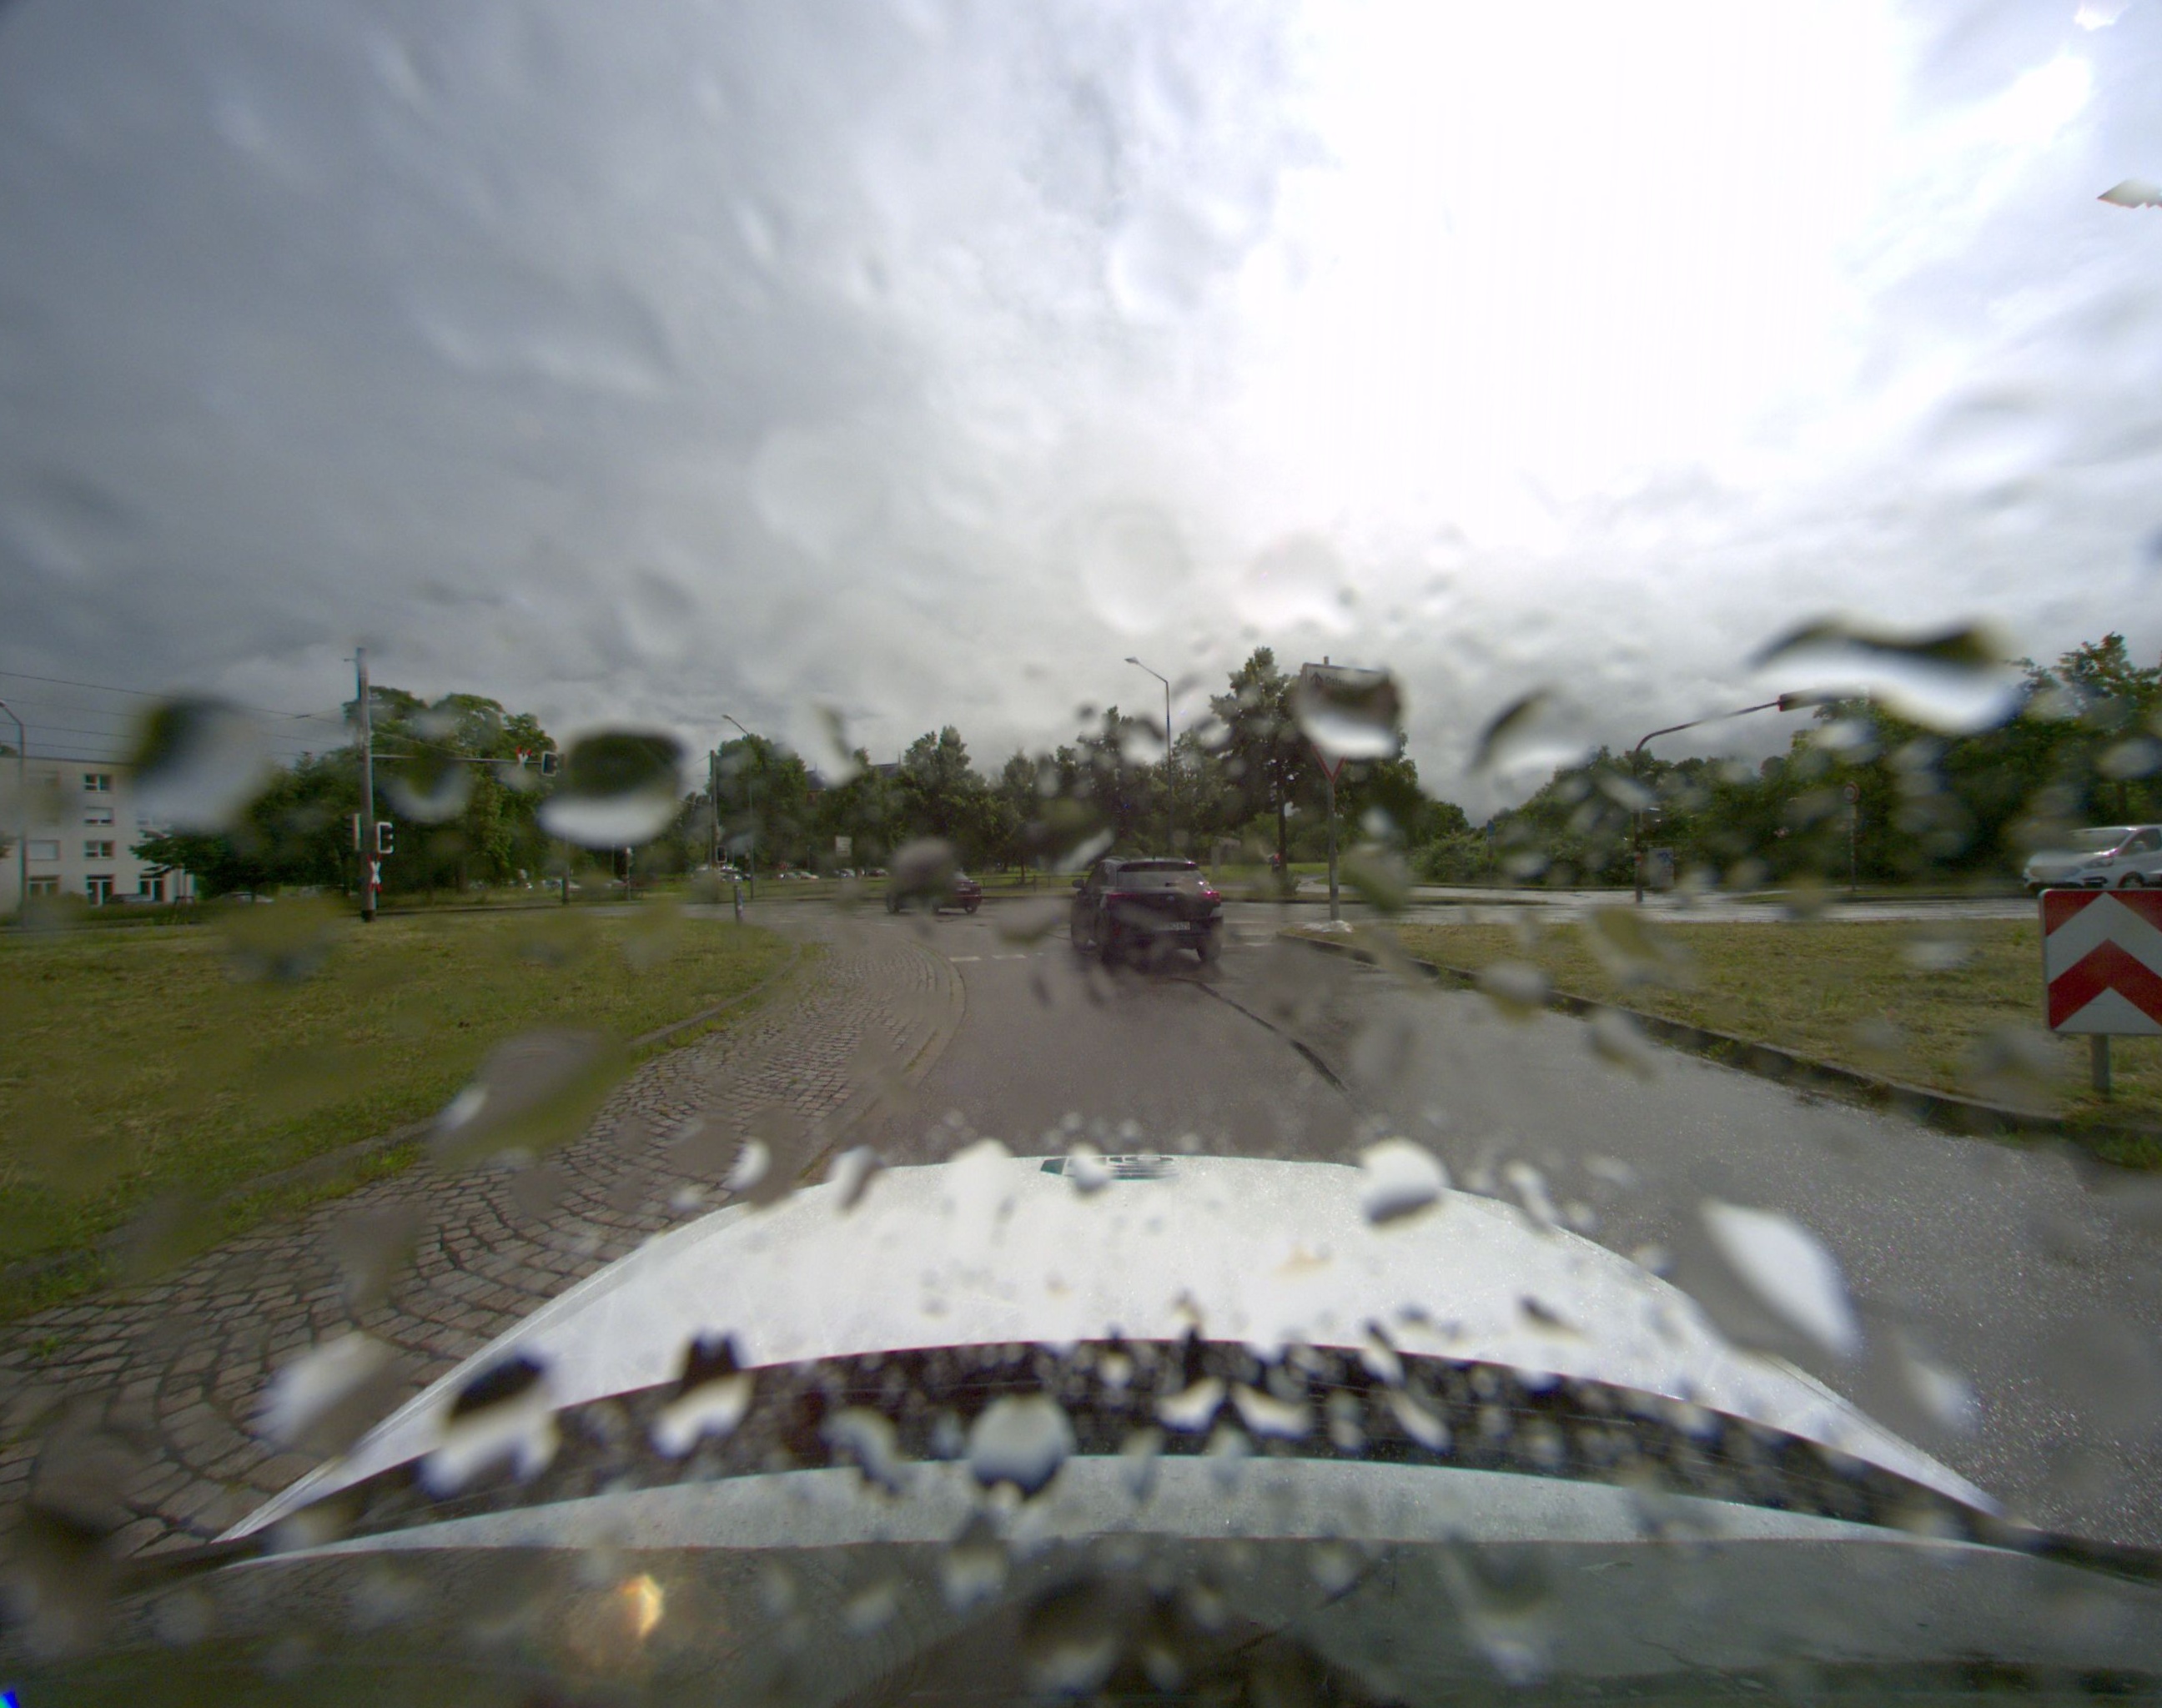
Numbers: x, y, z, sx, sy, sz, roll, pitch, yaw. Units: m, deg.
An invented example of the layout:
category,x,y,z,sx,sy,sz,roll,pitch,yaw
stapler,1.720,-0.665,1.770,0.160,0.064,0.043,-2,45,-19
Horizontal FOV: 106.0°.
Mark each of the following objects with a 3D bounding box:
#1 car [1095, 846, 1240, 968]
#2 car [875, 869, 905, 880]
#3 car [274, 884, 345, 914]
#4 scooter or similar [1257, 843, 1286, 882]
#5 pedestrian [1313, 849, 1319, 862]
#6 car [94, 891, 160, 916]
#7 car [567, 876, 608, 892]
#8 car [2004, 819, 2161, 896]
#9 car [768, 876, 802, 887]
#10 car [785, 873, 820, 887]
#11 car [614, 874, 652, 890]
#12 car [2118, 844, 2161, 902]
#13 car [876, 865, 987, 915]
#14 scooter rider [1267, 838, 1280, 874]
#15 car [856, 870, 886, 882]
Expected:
category,x,y,z,sx,sy,sz,roll,pitch,yaw
car,1.213,0.729,13.078,1.891,1.618,3.999,-1,0,0
car,-29.214,3.176,124.545,3.931,1.559,1.860,-3,-1,22
car,-57.092,3.292,60.244,5.097,2.057,2.126,-1,0,26
scooter or similar,10.487,0.494,44.738,1.226,2.014,3.424,-1,-2,18
pedestrian,31.473,0.249,109.183,0.591,1.732,0.609,-2,-3,35
car,-69.433,3.566,59.262,4.057,1.552,1.862,0,0,21
car,-48.126,2.944,79.461,3.566,1.462,1.655,-2,-1,25
car,29.060,0.066,22.706,4.780,1.987,2.073,-1,0,-8
car,-38.135,3.518,104.923,3.931,1.308,1.860,-3,-1,22
car,-36.706,3.430,107.354,3.931,1.559,1.860,-3,-1,22
car,-46.293,2.945,84.210,3.604,1.510,1.660,-2,-1,27
car,28.029,0.408,19.504,4.532,1.380,1.863,-1,0,-7
car,-4.939,1.118,26.596,1.729,1.462,3.952,-2,1,-41
scooter rider,10.786,0.129,45.671,0.699,2.014,0.773,-1,-2,12
car,-31.115,3.238,120.694,3.931,1.559,1.860,-3,-1,22
